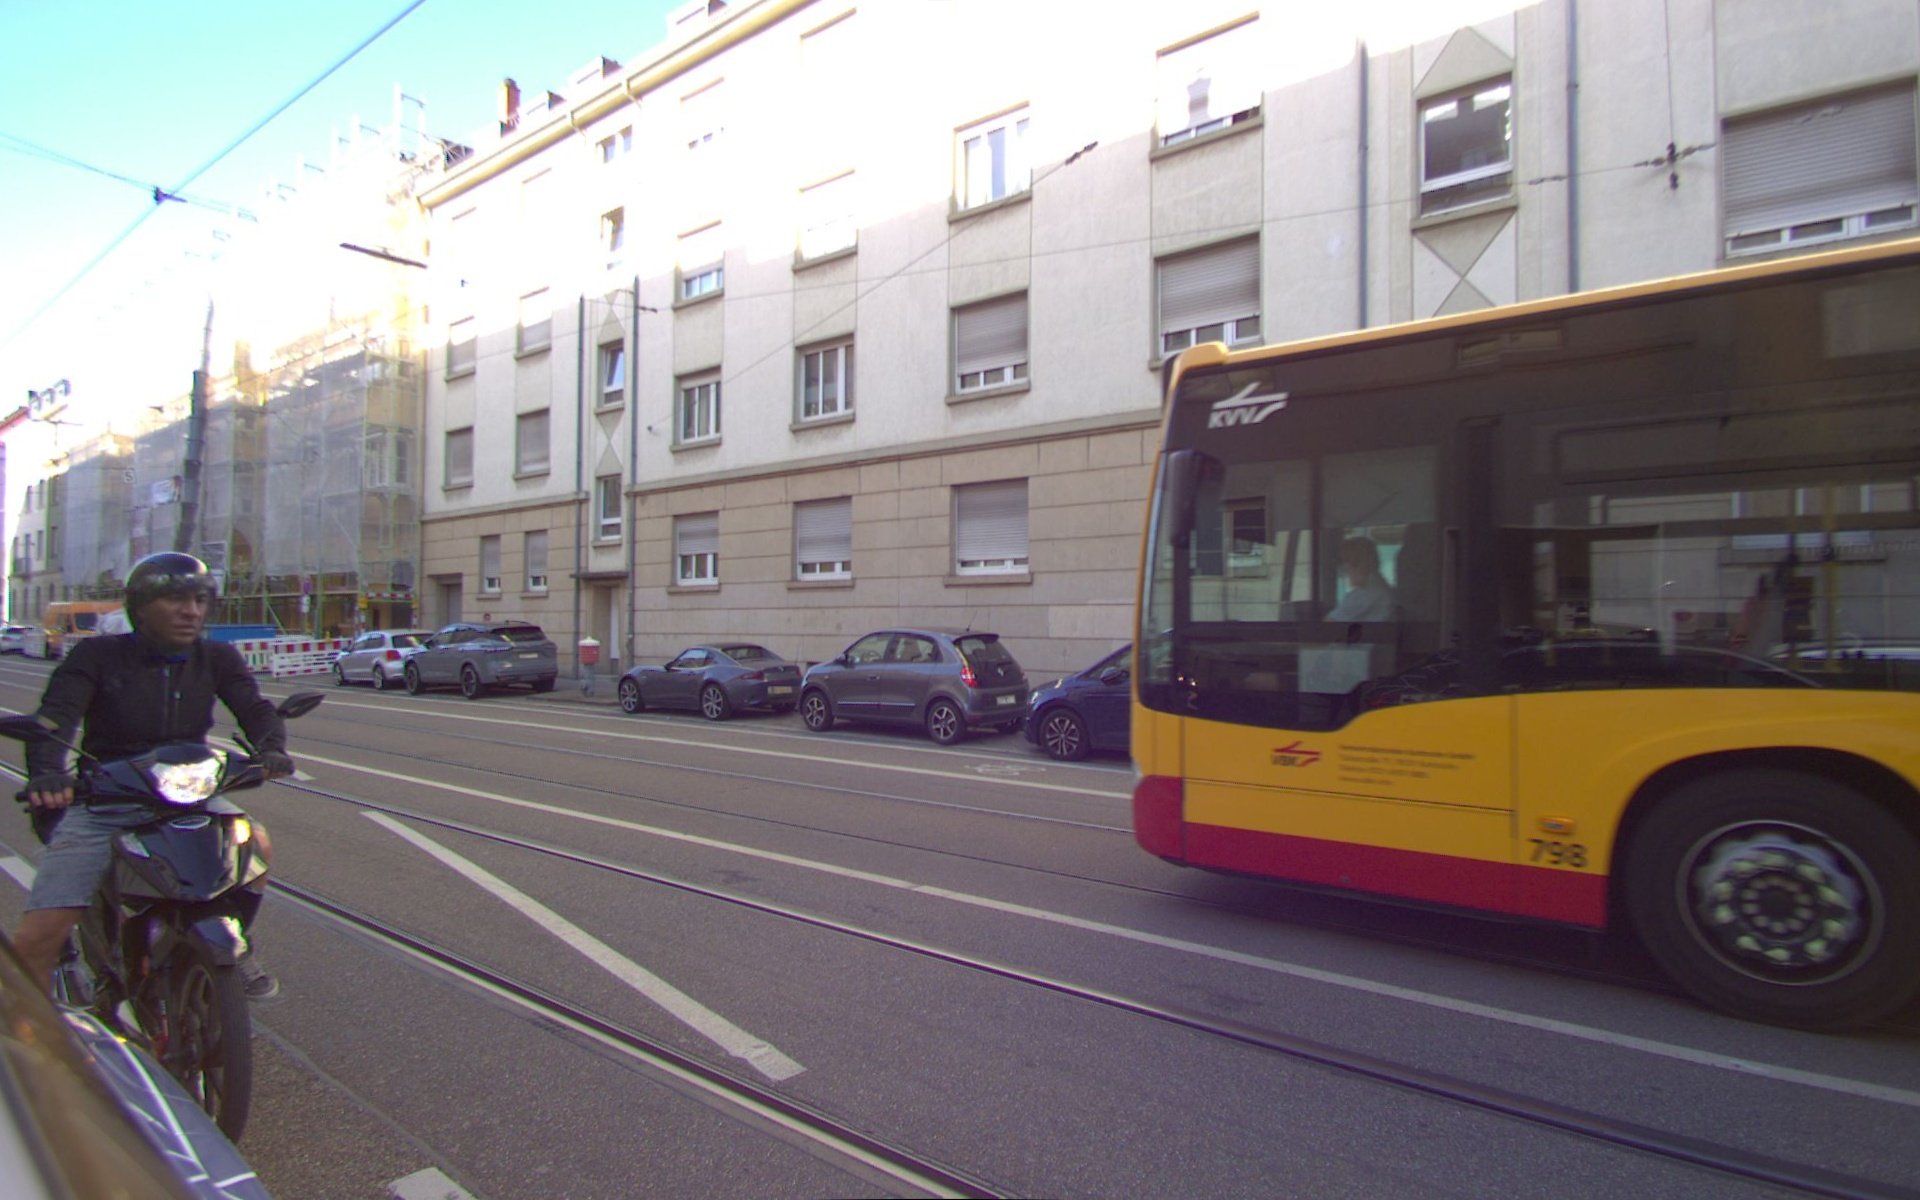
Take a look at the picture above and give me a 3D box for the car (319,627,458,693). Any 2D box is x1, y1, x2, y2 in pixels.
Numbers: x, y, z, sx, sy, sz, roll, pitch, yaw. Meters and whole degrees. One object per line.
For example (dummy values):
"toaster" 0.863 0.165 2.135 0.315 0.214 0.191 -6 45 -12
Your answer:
"car" -14.540 1.456 25.688 3.995 1.426 1.683 0 1 39

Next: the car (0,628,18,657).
"car" -54.809 2.405 57.129 4.216 1.590 1.682 -1 -1 37

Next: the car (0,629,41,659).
"car" -50.074 2.287 53.355 3.995 1.523 1.729 -1 -3 39

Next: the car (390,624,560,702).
"car" -10.962 1.356 22.754 4.400 1.580 1.683 -1 -2 39

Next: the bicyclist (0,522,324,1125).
"bicyclist" -2.637 0.598 3.161 0.849 1.566 0.833 -1 -3 38

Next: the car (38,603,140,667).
"car" -36.310 1.452 42.129 5.993 2.488 2.099 -1 -3 39

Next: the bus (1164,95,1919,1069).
"bus" 5.856 -0.080 2.948 10.177 3.182 2.697 -1 -2 37

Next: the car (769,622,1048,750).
"car" -0.838 1.140 14.848 3.995 1.581 1.683 -1 0 39

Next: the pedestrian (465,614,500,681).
"pedestrian" -12.386 1.217 26.258 0.716 1.707 0.575 -1 -1 38

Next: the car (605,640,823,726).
"car" -4.324 1.362 17.560 3.779 1.225 1.684 0 0 37

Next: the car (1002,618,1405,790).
"car" 2.717 1.043 11.750 4.235 1.627 1.684 0 0 36

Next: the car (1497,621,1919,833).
"car" 7.117 0.964 8.513 4.380 1.521 1.683 -1 0 38

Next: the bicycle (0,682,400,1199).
"bicycle" -2.577 0.891 3.133 1.971 1.186 0.731 -1 -3 38
